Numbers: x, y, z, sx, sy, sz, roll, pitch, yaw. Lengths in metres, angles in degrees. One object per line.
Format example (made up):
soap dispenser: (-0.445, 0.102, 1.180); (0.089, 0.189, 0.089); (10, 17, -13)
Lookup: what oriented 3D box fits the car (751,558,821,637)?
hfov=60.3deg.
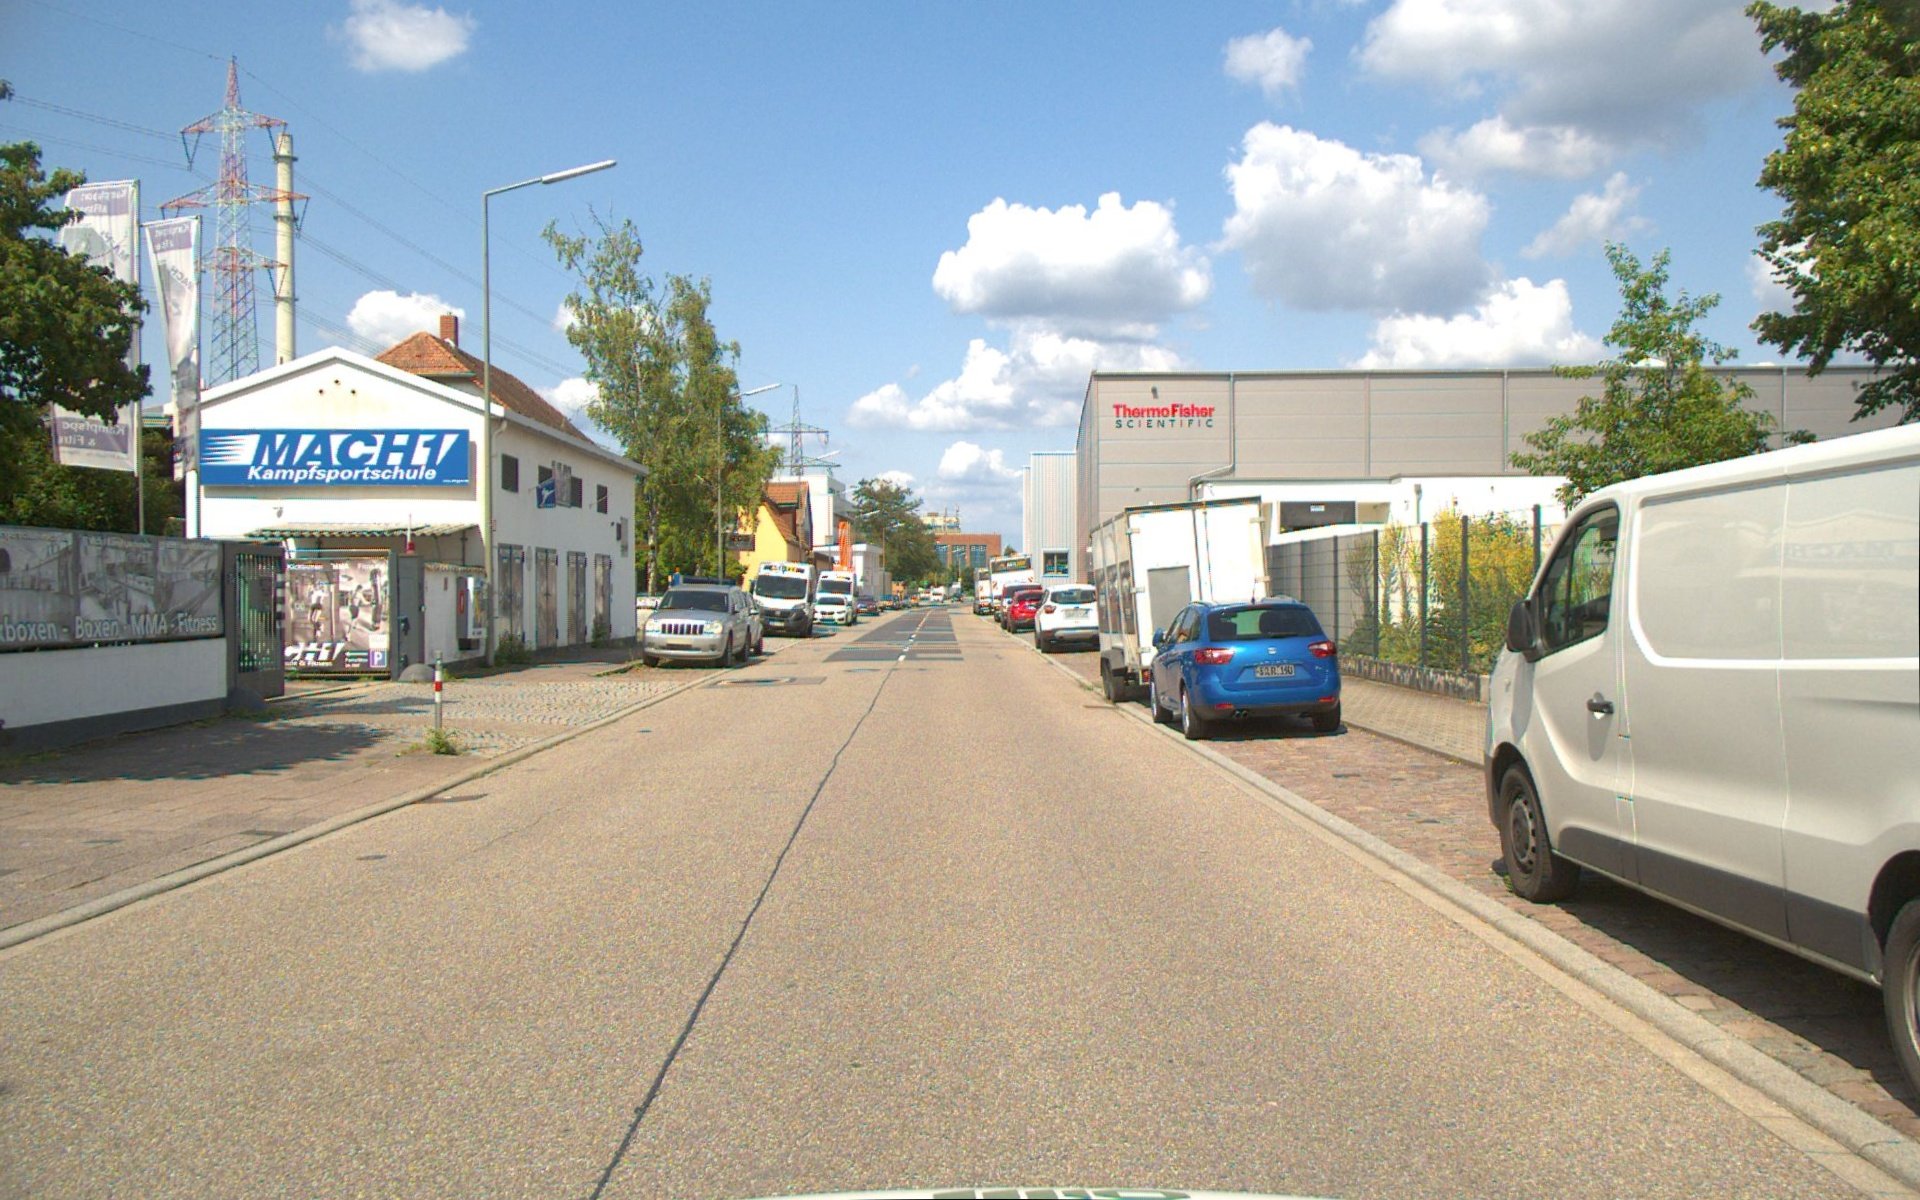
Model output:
car: (-6.155, -0.077, 59.109); (1.989, 2.602, 6.654); (2, 0, -2)

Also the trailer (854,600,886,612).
trailer: (-7.391, 0.502, 136.465); (2.314, 0.908, 5.568); (1, 0, -1)

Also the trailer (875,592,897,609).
trailer: (-7.001, 0.067, 157.496); (1.953, 1.584, 4.253); (0, 0, -1)

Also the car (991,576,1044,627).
car: (2.410, 0.043, 70.433); (2.012, 1.936, 5.147); (-4, 0, 1)

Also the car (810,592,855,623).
car: (-6.049, 0.352, 78.858); (1.759, 1.422, 4.502); (1, 0, 1)

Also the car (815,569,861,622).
car: (-6.297, -0.210, 86.083); (1.986, 2.606, 6.837); (1, 0, -2)

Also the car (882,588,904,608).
car: (-6.983, -0.191, 173.068); (1.952, 2.049, 4.001); (1, 0, 2)

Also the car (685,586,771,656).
car: (-5.772, 0.500, 41.358); (1.576, 1.601, 3.010); (3, 0, 1)

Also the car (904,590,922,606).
car: (-5.572, -0.266, 196.551); (1.882, 1.825, 4.001); (1, 0, 2)

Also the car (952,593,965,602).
car: (-0.233, -0.332, 252.112); (1.878, 1.307, 3.615); (-1, 0, 2)

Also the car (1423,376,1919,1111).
car: (3.621, 0.385, 6.450); (1.953, 2.049, 5.648); (-1, 0, -1)

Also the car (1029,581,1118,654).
car: (2.942, 0.430, 43.874); (1.896, 1.723, 4.679); (-3, 0, -1)

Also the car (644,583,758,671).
car: (-5.624, 0.552, 36.386); (1.754, 1.749, 4.750); (2, 0, -1)

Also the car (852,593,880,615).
car: (-6.674, 0.313, 117.524); (1.726, 1.473, 4.740); (1, 0, 0)

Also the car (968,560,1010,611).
car: (2.063, -0.984, 118.968); (2.341, 3.421, 6.640); (-4, 0, -3)

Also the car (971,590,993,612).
car: (1.751, 0.082, 131.553); (1.732, 1.640, 3.873); (-1, 0, 1)

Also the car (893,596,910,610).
car: (-6.289, 0.302, 178.583); (1.634, 1.473, 3.453); (1, 0, 0)

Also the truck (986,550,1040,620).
truck: (2.769, -0.766, 87.950); (2.409, 3.350, 6.817); (-5, 0, 0)

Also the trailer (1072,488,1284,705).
trailer: (3.143, -0.034, 25.357); (2.160, 2.784, 6.220); (-3, 0, -1)

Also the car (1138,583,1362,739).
car: (3.148, 0.621, 18.733); (1.656, 1.486, 4.069); (-3, 0, -2)

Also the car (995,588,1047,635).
car: (2.321, 0.449, 63.455); (1.670, 1.652, 4.091); (-3, 0, -1)
